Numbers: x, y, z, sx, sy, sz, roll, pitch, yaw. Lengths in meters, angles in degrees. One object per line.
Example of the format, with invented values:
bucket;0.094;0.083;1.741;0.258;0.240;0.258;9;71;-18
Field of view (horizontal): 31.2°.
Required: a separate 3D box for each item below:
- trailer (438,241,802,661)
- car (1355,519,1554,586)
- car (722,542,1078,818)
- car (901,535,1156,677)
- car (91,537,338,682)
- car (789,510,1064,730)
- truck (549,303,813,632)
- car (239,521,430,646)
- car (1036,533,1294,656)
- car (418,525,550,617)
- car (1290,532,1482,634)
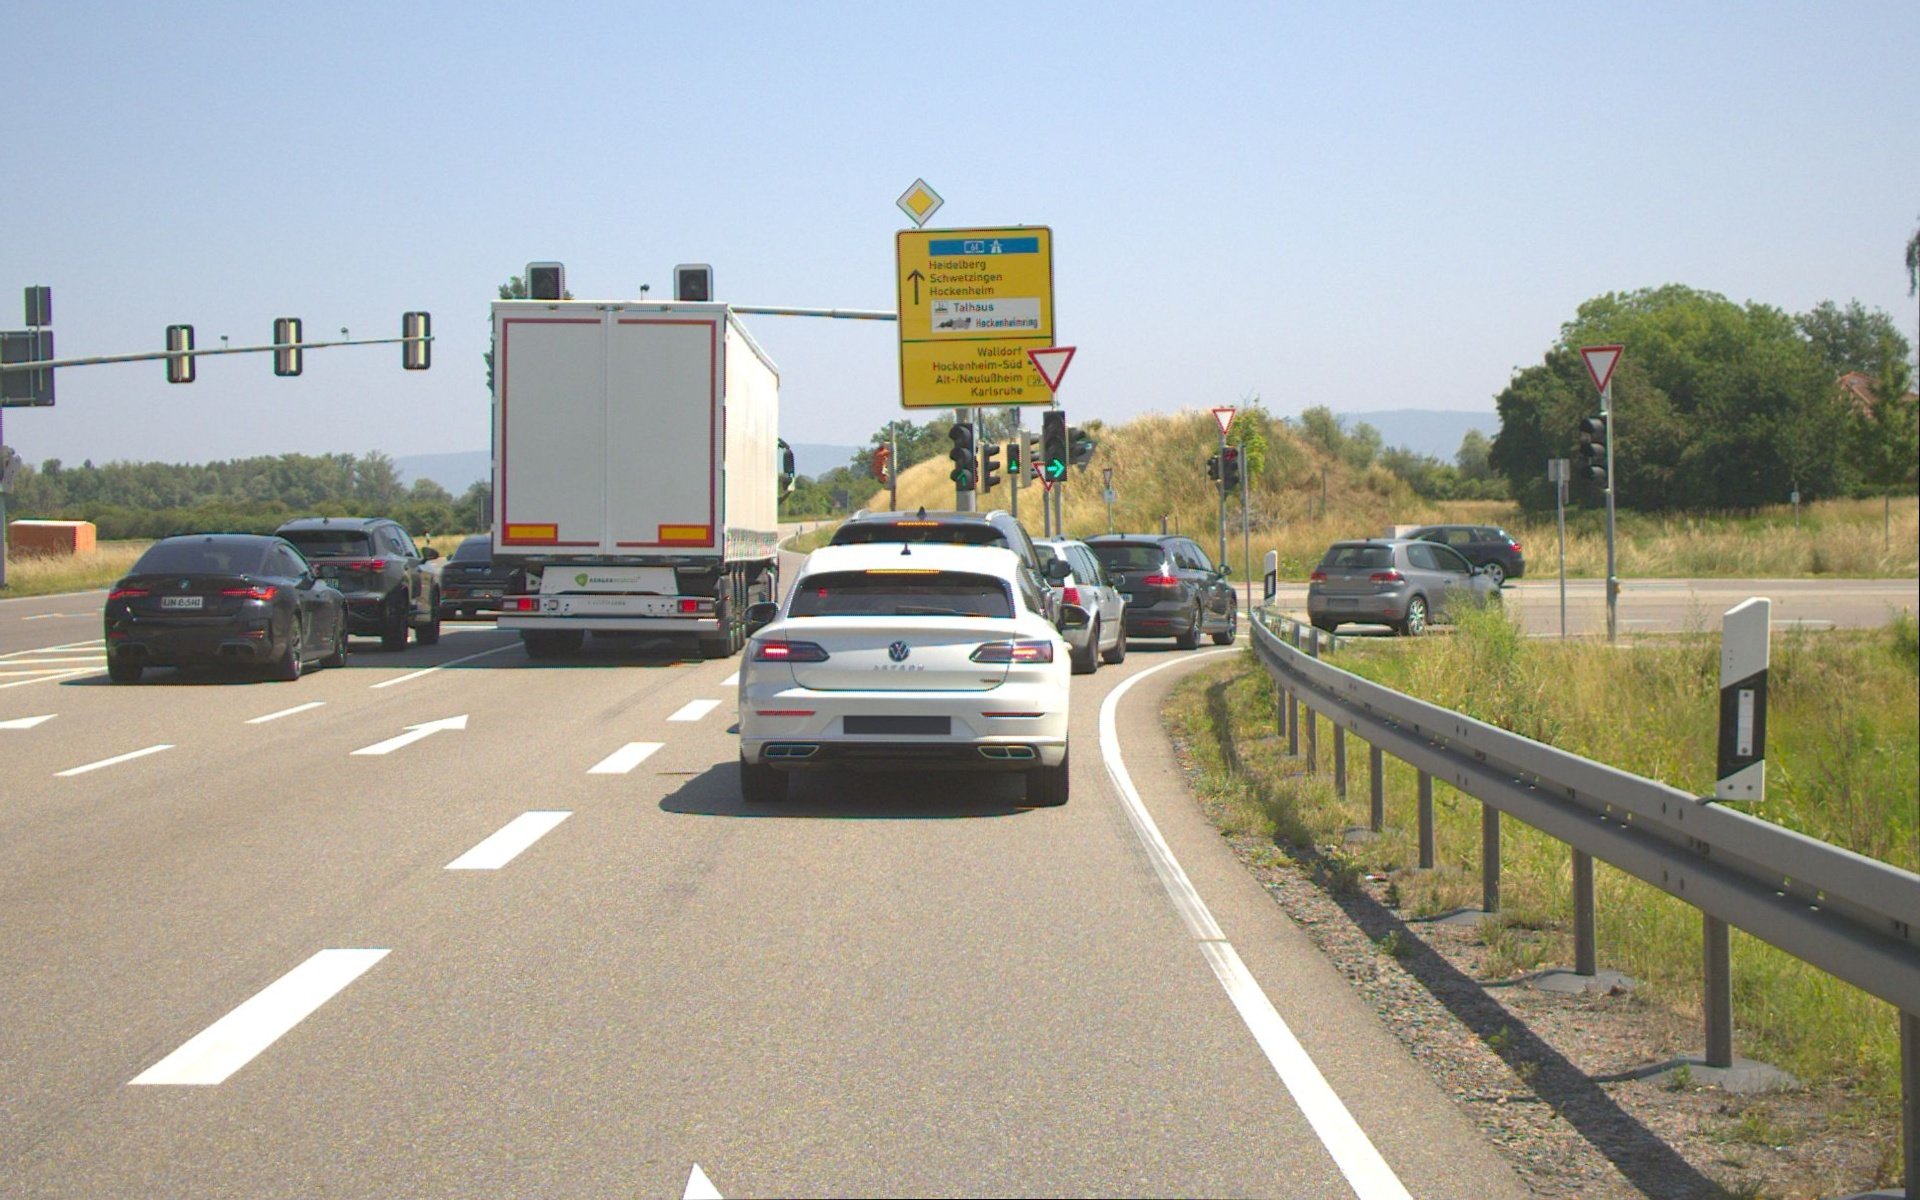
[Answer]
trailer;-3.986;-1.746;43.723;3.381;4.527;12.872;1;1;0
car;11.088;-1.069;77.255;4.260;1.364;1.776;-1;2;3
car;-0.330;0.384;20.200;1.848;1.428;4.608;0;1;0
car;0.795;0.026;36.829;1.801;1.424;4.090;0;1;15
car;-7.585;0.056;35.322;1.809;1.393;4.022;0;1;-2
car;-0.181;0.116;27.565;1.935;1.611;4.378;0;1;3
truck;-4.006;-1.898;50.822;3.381;4.527;6.373;1;1;0
car;-7.801;-0.230;43.161;1.809;1.488;4.022;0;1;-2
car;2.678;-0.099;43.896;1.802;1.471;4.409;1;1;25
car;-7.972;-0.503;57.905;1.809;1.488;4.022;0;1;-2
car;6.650;-0.280;53.384;1.802;1.516;3.877;1;1;26
